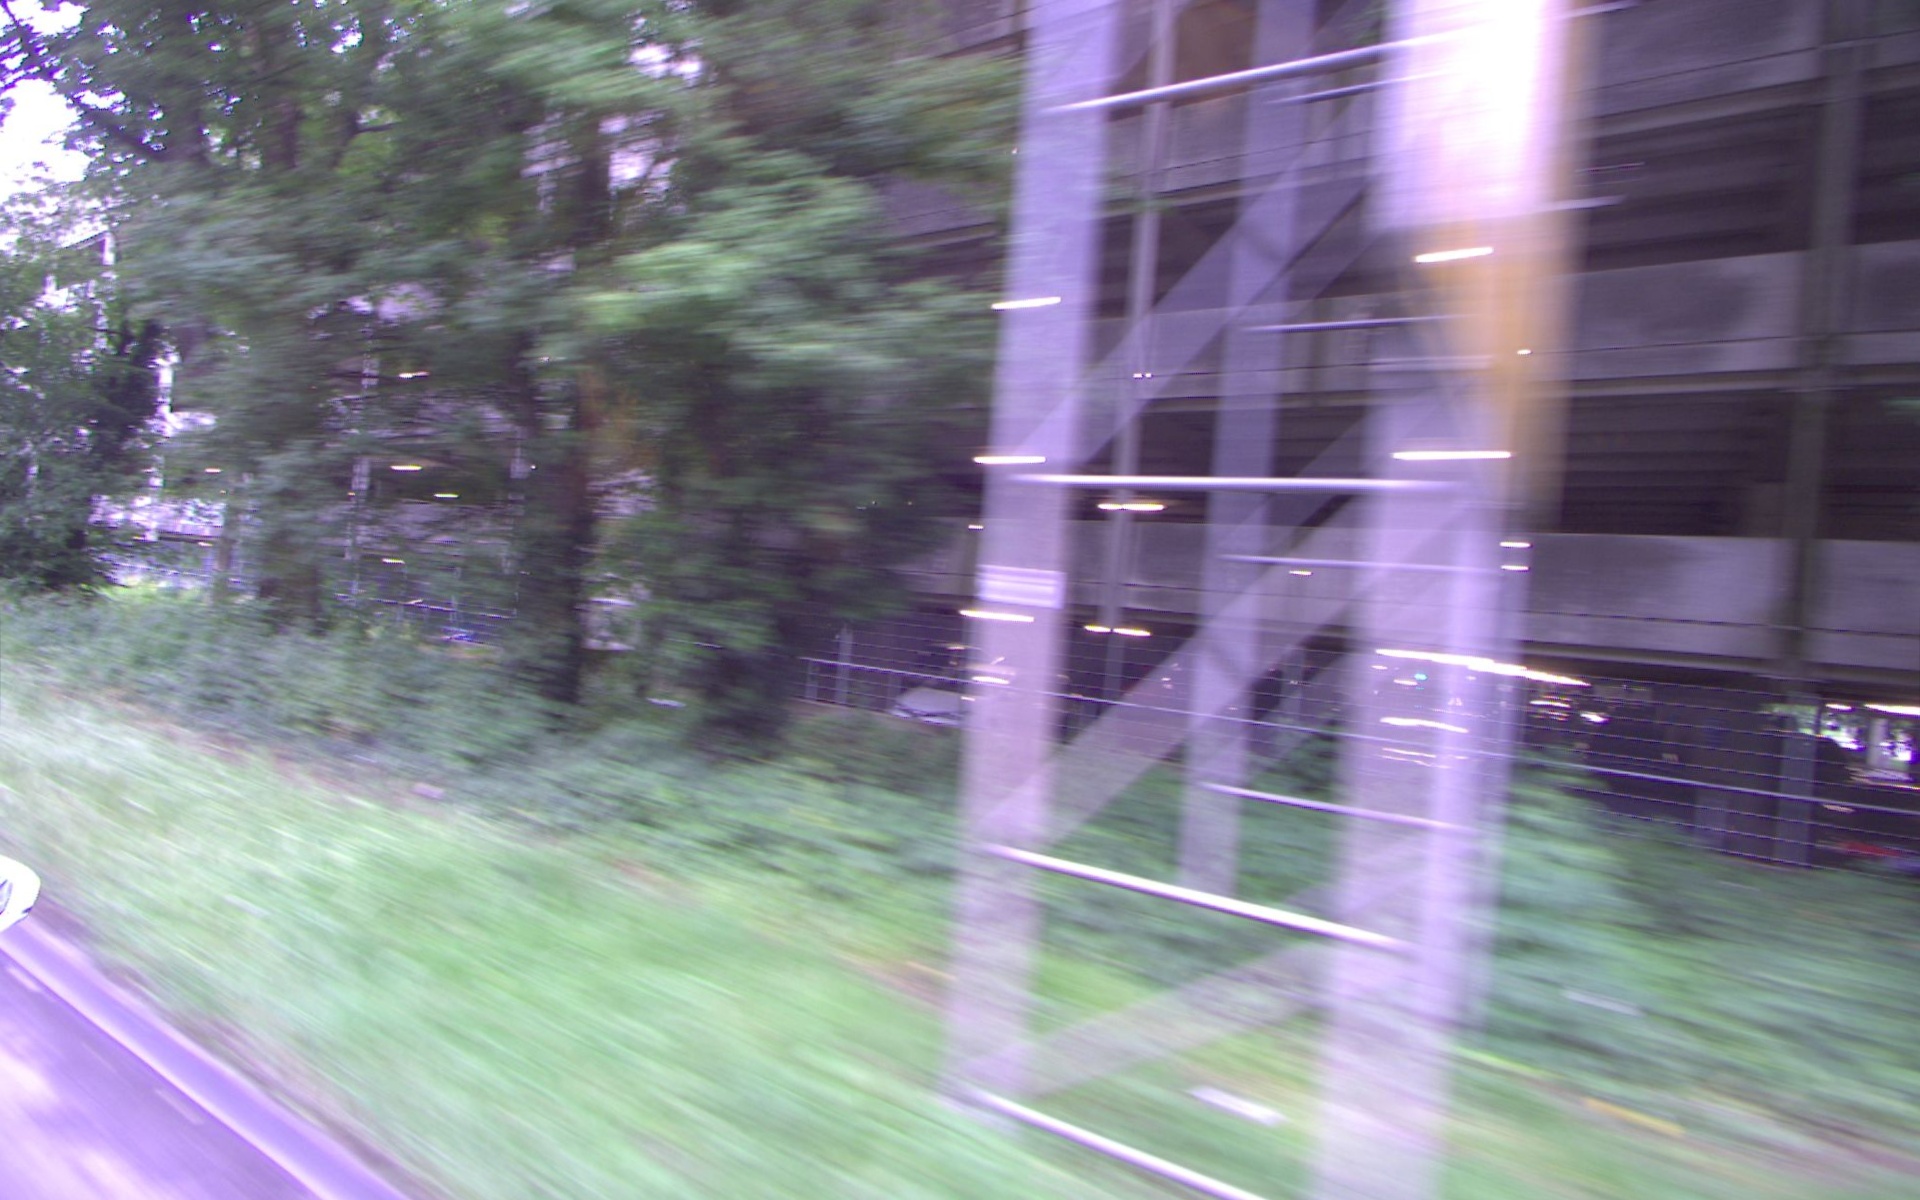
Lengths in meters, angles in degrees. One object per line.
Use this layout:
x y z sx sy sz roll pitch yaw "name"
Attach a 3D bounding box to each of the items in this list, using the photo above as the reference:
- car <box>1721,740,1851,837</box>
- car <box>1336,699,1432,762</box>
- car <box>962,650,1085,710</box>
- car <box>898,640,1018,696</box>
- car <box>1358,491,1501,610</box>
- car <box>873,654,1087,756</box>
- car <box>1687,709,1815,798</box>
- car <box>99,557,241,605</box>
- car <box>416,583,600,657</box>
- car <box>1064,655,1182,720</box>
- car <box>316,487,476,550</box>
16.372 3.672 20.103 1.498 1.381 3.767 5 -1 33 "car"
10.009 3.052 23.649 1.498 1.189 3.339 4 -4 32 "car"
1.940 2.363 29.656 1.796 1.432 4.064 6 -1 32 "car"
0.005 2.182 31.714 1.796 1.469 4.064 6 -1 32 "car"
6.609 -0.635 14.041 1.335 1.261 2.890 4 -3 34 "car"
0.511 1.852 18.164 1.684 1.473 4.446 4 -2 33 "car"
19.207 3.656 24.612 1.968 1.748 3.992 4 -3 32 "car"
-31.696 -0.744 40.479 1.918 1.453 4.009 5 -2 32 "car"
-11.788 0.575 26.474 1.833 1.551 3.991 6 -1 32 "car"
4.753 2.509 28.852 1.796 1.506 4.064 6 -1 32 "car"
-17.289 -2.479 30.952 1.805 1.360 3.831 6 -1 37 "car"
